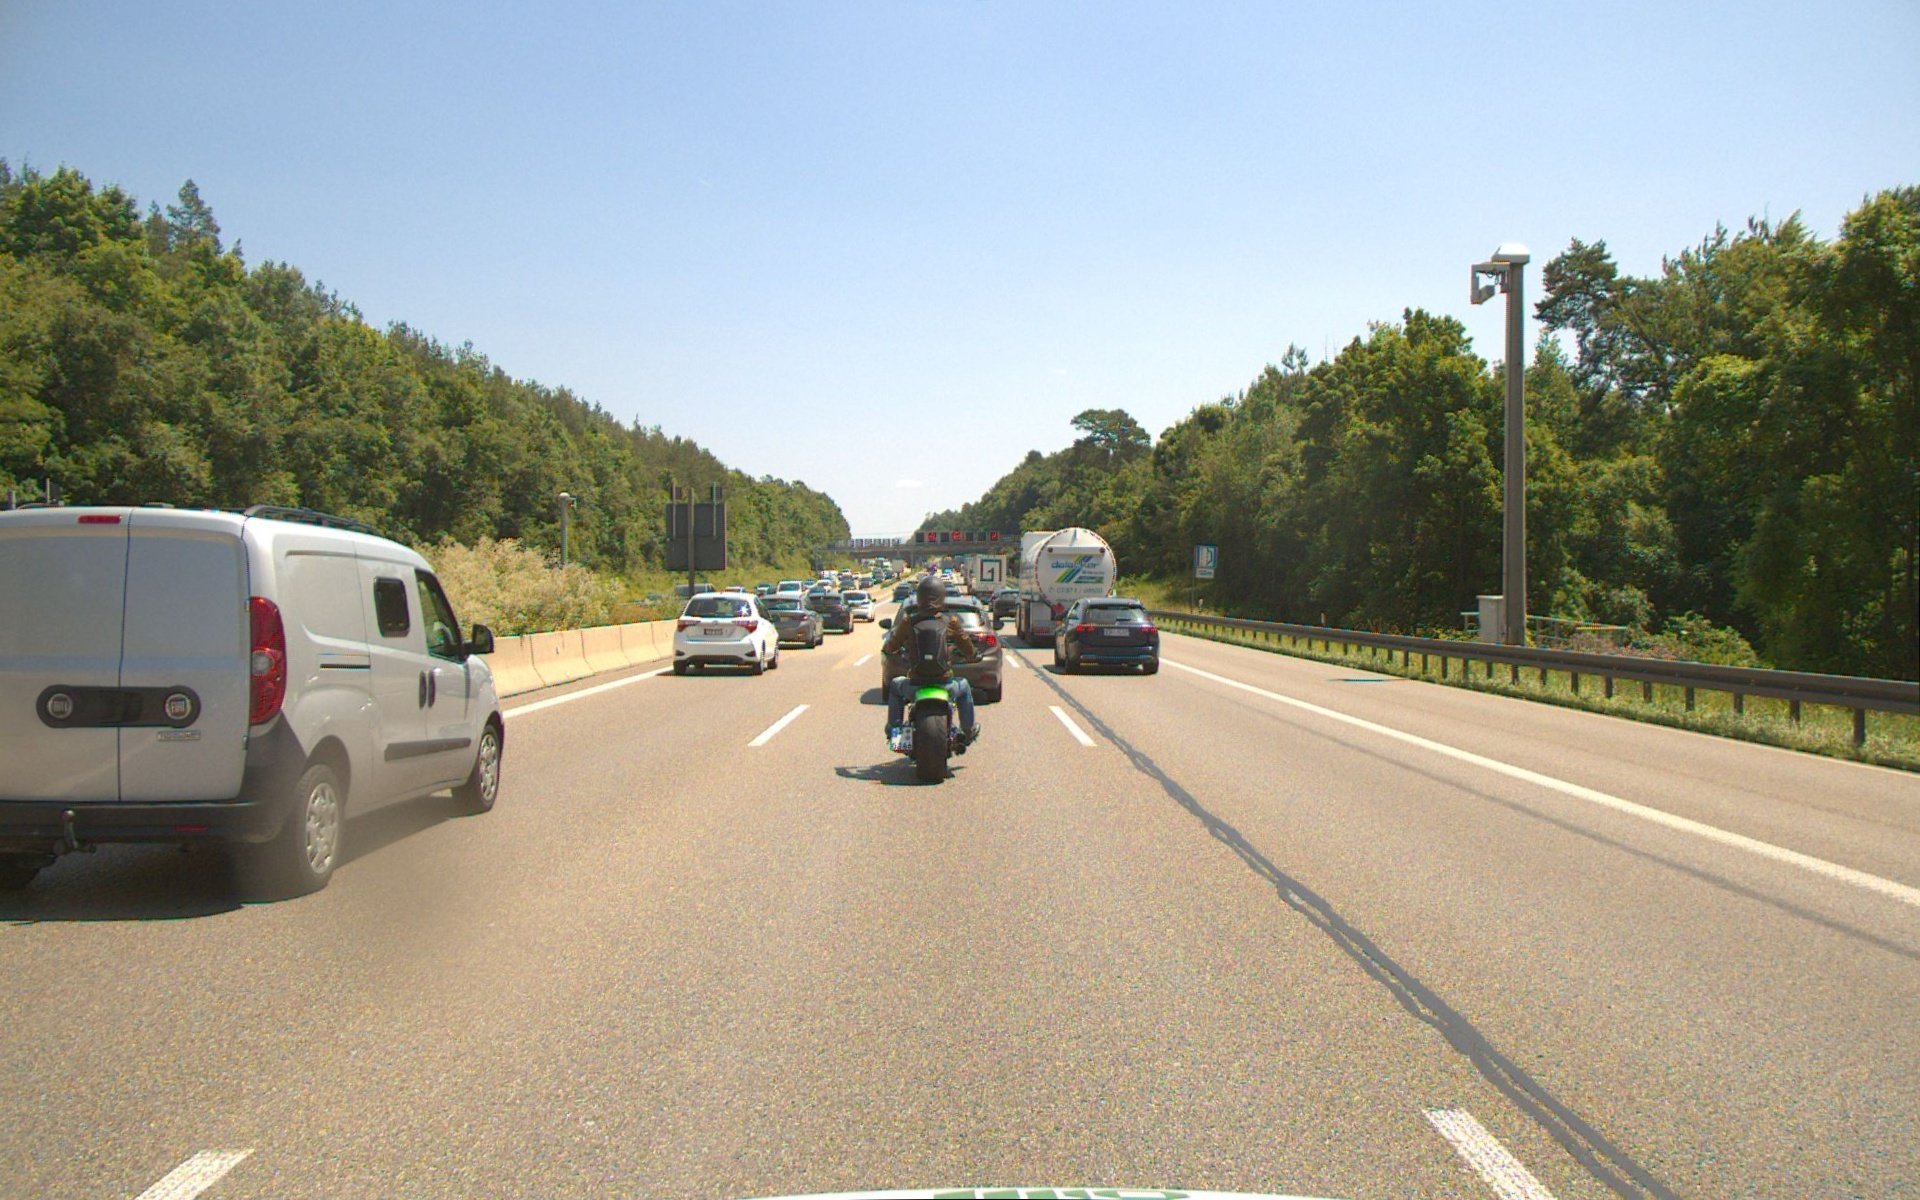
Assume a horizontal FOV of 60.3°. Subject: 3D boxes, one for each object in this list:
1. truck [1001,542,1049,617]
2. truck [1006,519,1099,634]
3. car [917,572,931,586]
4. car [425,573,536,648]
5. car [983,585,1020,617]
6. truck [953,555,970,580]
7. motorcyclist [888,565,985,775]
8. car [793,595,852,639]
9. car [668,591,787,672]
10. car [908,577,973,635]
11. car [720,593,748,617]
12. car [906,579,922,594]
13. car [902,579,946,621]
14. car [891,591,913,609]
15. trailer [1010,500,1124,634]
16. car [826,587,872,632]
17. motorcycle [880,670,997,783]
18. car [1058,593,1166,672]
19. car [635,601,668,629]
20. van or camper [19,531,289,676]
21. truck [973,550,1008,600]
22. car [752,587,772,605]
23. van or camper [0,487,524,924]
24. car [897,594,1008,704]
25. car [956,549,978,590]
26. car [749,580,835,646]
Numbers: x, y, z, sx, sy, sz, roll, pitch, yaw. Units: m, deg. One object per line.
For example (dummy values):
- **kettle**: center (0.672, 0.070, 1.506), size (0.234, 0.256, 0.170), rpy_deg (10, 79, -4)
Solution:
- **truck**: center (4.111, -1.286, 105.975), size (2.340, 4.542, 10.865), rpy_deg (0, 0, -1)
- **truck**: center (3.138, -0.697, 57.466), size (2.770, 3.735, 6.428), rpy_deg (1, -1, -1)
- **car**: center (-5.275, -3.062, 242.045), size (1.953, 2.049, 3.999), rpy_deg (0, -1, -1)
- **car**: center (-13.867, 0.283, 48.066), size (1.953, 2.049, 4.271), rpy_deg (0, 0, 0)
- **car**: center (2.093, 0.074, 84.803), size (1.740, 1.554, 3.999), rpy_deg (1, -1, -1)
- **truck**: center (0.215, -4.984, 256.900), size (2.641, 3.465, 10.476), rpy_deg (0, -1, -1)
- **motorcyclist**: center (-0.197, 0.586, 14.151), size (0.782, 1.717, 1.016), rpy_deg (1, -1, -1)
- **car**: center (-4.903, 0.640, 59.314), size (1.954, 1.490, 3.997), rpy_deg (1, -1, -3)
- **car**: center (-4.392, 0.574, 31.768), size (1.740, 1.435, 3.999), rpy_deg (1, 0, -1)
- **car**: center (-0.626, 0.228, 51.846), size (1.953, 1.741, 3.998), rpy_deg (1, -1, -1)
- **car**: center (-19.056, 0.408, 139.699), size (1.953, 2.049, 3.998), rpy_deg (0, 0, -2)
- **car**: center (-5.111, -1.466, 183.866), size (1.626, 1.627, 3.999), rpy_deg (0, -1, 0)
- **car**: center (-1.640, 0.020, 75.861), size (1.953, 1.806, 3.998), rpy_deg (1, -1, -1)
- **car**: center (-4.909, -0.008, 141.161), size (1.728, 1.467, 4.000), rpy_deg (0, 0, 0)
- **trailer**: center (3.183, -0.818, 52.021), size (2.770, 3.735, 10.730), rpy_deg (1, -1, -1)
- **car**: center (-5.238, 0.498, 78.326), size (1.953, 2.049, 3.999), rpy_deg (1, -1, -1)
- **motorcycle**: center (-0.178, 1.044, 14.145), size (0.917, 0.807, 2.298), rpy_deg (1, -1, -1)
- **car**: center (3.048, 0.675, 34.044), size (1.755, 1.484, 4.623), rpy_deg (1, -1, -1)
- **car**: center (-23.546, 1.106, 126.395), size (1.953, 2.049, 3.998), rpy_deg (0, 0, -2)
- **van or camper**: center (-15.112, 0.125, 31.521), size (2.108, 2.465, 6.194), rpy_deg (1, -1, -1)
- **truck**: center (2.614, -2.073, 140.012), size (2.794, 3.888, 7.189), rpy_deg (1, -1, 2)
- **car**: center (-23.325, -0.506, 194.768), size (1.953, 2.049, 3.998), rpy_deg (0, 0, -2)
- **van or camper**: center (-4.025, 0.455, 9.575), size (1.815, 1.913, 4.560), rpy_deg (1, 0, -1)
- **car**: center (-0.117, 0.685, 24.663), size (1.509, 1.476, 3.999), rpy_deg (1, 0, -1)
- **car**: center (0.724, -3.220, 177.351), size (2.123, 3.961, 9.327), rpy_deg (1, -1, 0)
- **car**: center (-4.581, 0.394, 45.661), size (1.953, 1.713, 4.329), rpy_deg (1, -1, -1)
